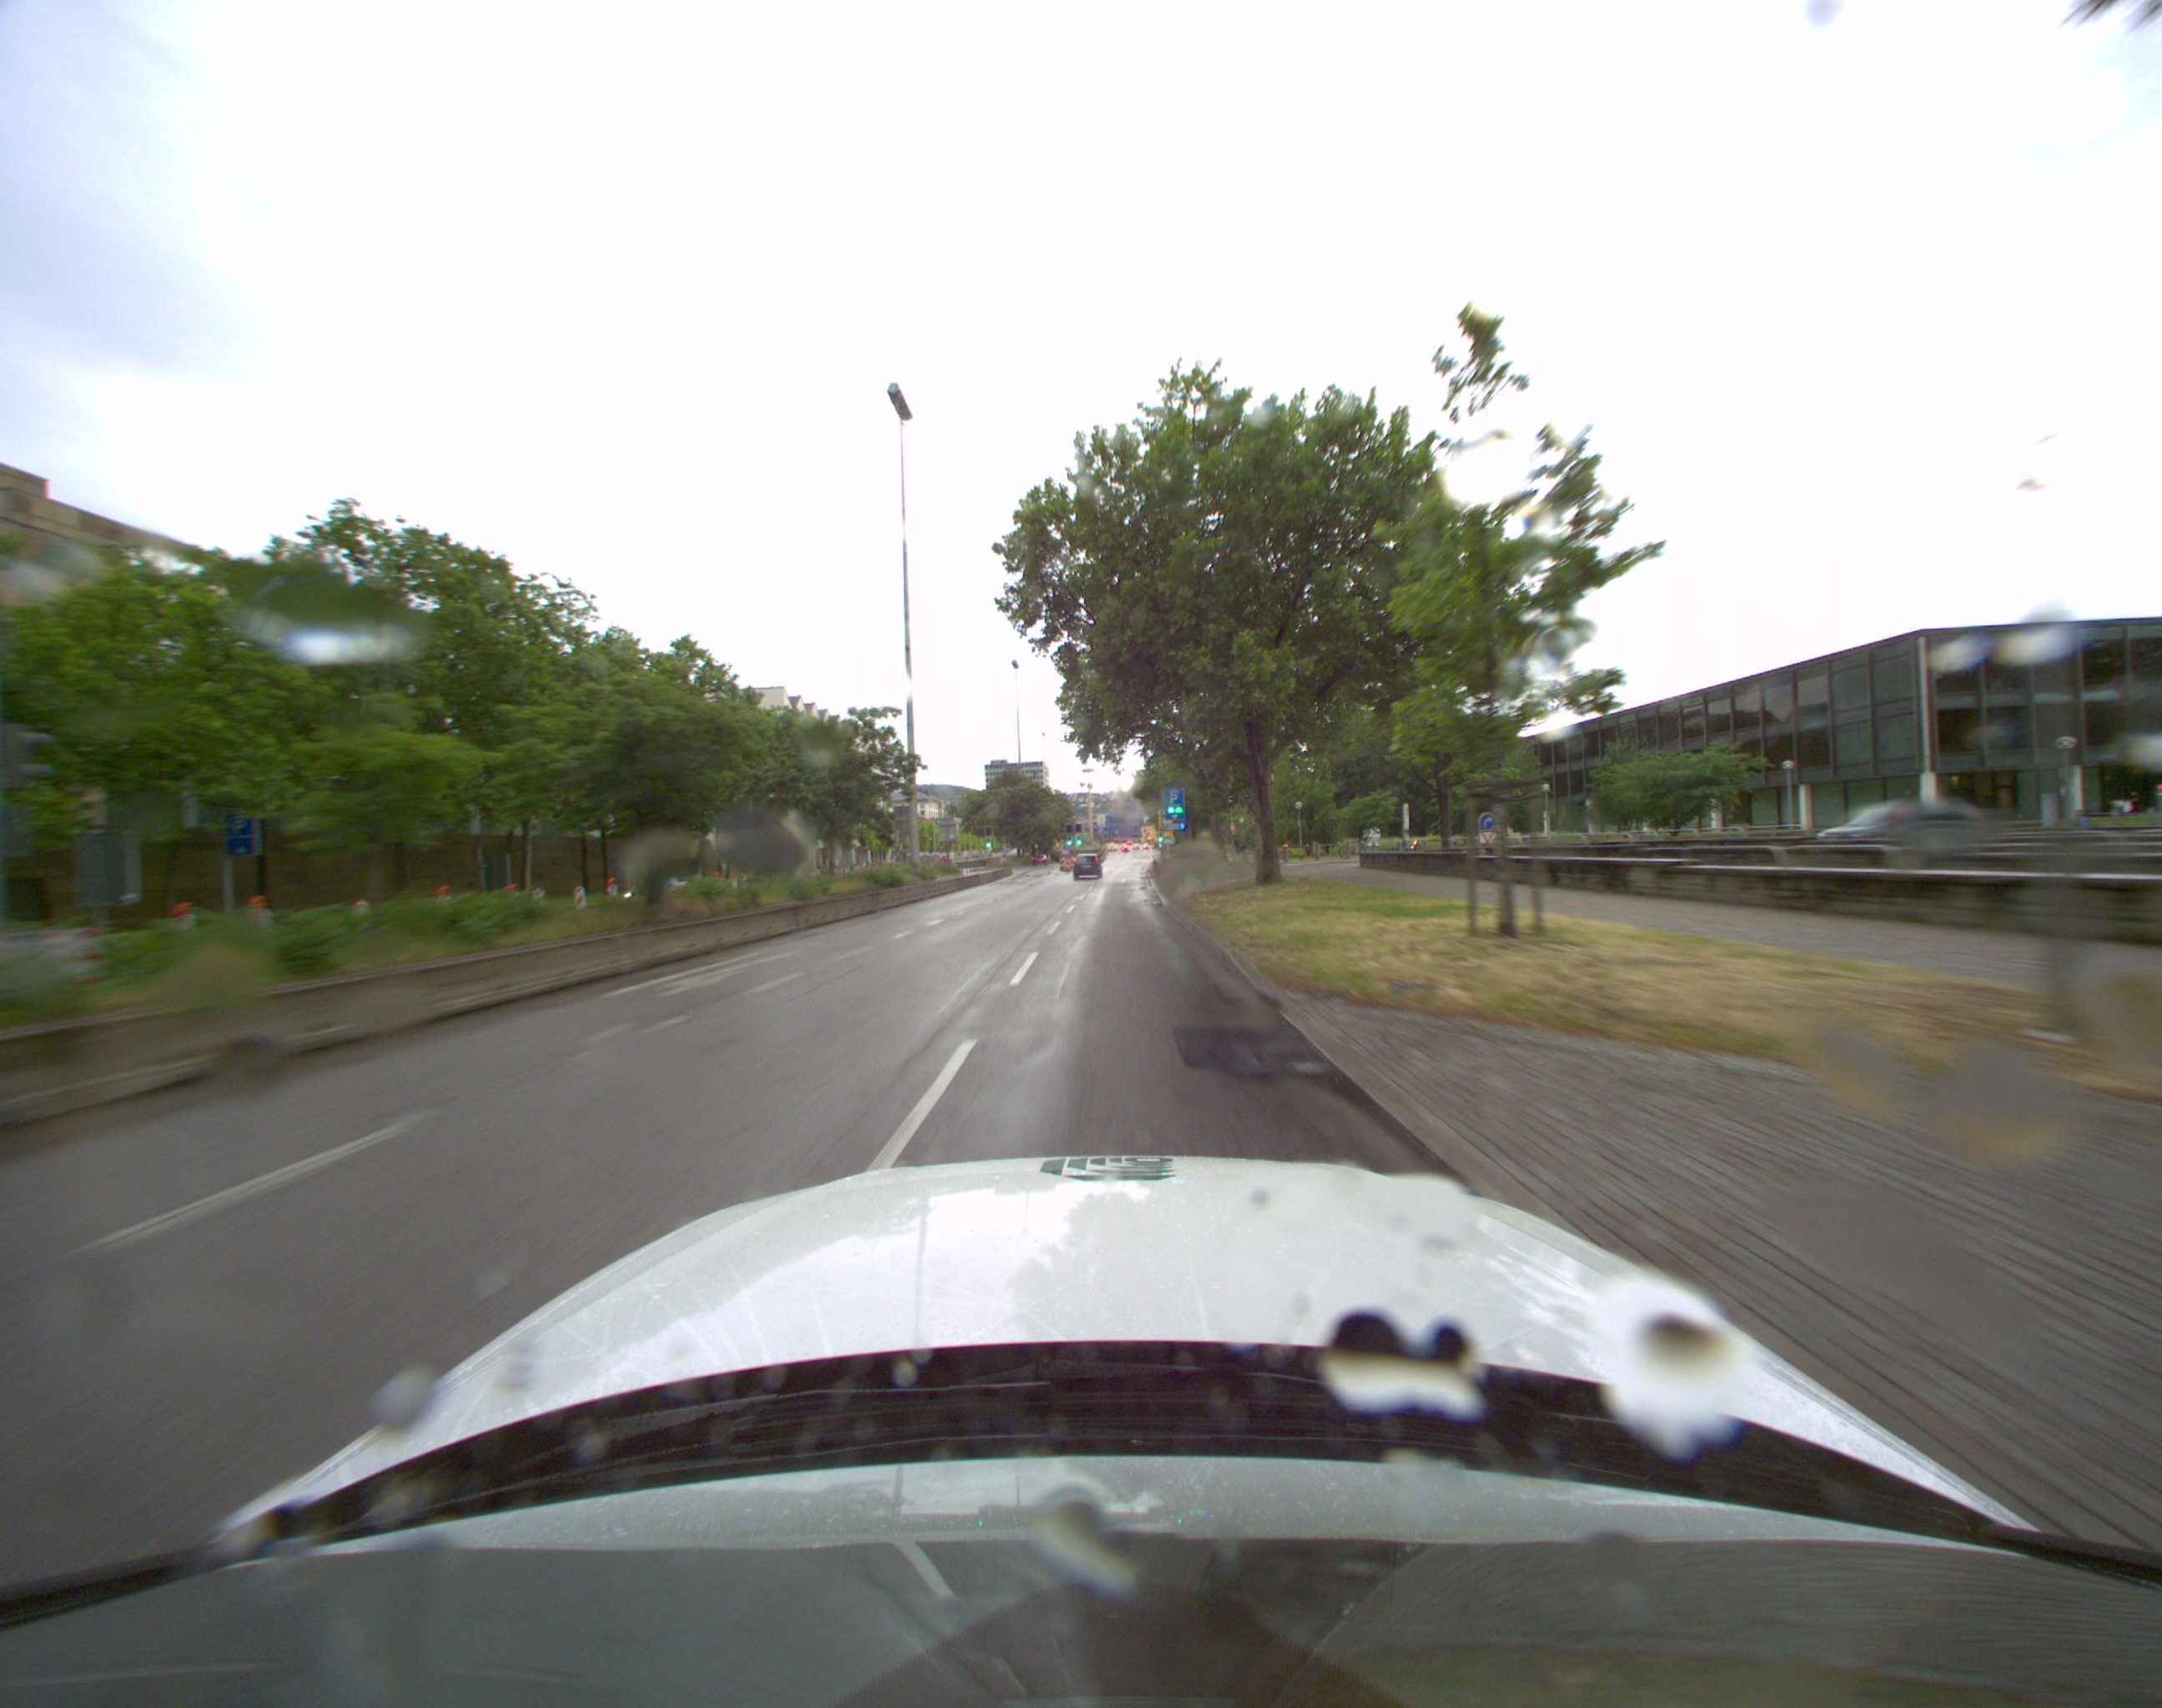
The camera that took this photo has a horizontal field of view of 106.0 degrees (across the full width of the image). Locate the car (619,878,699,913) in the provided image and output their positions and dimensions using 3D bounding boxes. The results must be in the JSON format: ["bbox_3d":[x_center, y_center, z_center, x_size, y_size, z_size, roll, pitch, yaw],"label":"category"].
[{"bbox_3d":[-22.933,2.203,44.398,1.985,1.530,4.003,-4,0,3],"label":"car"}]

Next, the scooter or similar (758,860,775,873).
[{"bbox_3d":[-34.498,1.391,89.273,0.706,1.351,1.684,-5,0,23],"label":"scooter or similar"}]

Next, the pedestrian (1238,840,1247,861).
[{"bbox_3d":[13.961,-0.336,70.391,0.592,1.755,0.725,-4,1,0],"label":"pedestrian"}]

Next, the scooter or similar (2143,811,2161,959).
[{"bbox_3d":[9.814,0.245,6.572,0.545,1.255,1.423,-4,1,-30],"label":"scooter or similar"}]

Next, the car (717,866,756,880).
[{"bbox_3d":[-44.233,2.411,104.618,3.974,1.596,2.000,-3,1,0],"label":"car"}]

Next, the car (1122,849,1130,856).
[{"bbox_3d":[12.071,-0.387,218.543,1.731,1.771,4.005,-4,0,4],"label":"car"}]

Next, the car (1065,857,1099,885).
[{"bbox_3d":[0.037,0.984,48.841,1.838,1.416,3.838,-4,0,-1],"label":"car"}]

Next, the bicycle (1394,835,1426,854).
[{"bbox_3d":[20.219,-0.582,50.069,1.637,1.085,0.709,-3,1,-3],"label":"bicycle"}]

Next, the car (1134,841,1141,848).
[{"bbox_3d":[17.427,-2.875,250.533,1.979,2.013,4.003,-2,0,3],"label":"car"}]

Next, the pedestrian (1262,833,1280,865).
[{"bbox_3d":[10.461,-0.272,44.865,0.702,1.718,0.693,-5,1,3],"label":"pedestrian"}]

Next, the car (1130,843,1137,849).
[{"bbox_3d":[16.555,-2.480,256.733,1.704,1.690,3.855,-4,0,6],"label":"car"}]

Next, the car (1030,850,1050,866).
[{"bbox_3d":[-5.259,0.476,103.738,1.985,1.780,4.005,-3,1,4],"label":"car"}]

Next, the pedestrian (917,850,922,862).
[{"bbox_3d":[-27.649,0.296,139.362,0.543,2.013,0.525,-4,1,-32],"label":"pedestrian"}]

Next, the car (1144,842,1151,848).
[{"bbox_3d":[20.601,-2.703,253.355,1.984,1.599,4.006,-5,0,6],"label":"car"}]

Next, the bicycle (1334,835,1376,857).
[{"bbox_3d":[15.688,-0.467,46.621,2.033,1.173,0.957,-3,1,-8],"label":"bicycle"}]

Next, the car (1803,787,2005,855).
[{"bbox_3d":[23.639,-0.936,23.504,3.969,1.600,1.658,-4,1,4],"label":"car"}]

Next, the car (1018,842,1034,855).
[{"bbox_3d":[-7.483,-0.751,110.499,1.988,1.632,3.997,-3,1,-2],"label":"car"}]

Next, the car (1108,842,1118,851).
[{"bbox_3d":[9.182,-2.178,234.533,2.207,2.012,4.012,2,6,8],"label":"car"}]
